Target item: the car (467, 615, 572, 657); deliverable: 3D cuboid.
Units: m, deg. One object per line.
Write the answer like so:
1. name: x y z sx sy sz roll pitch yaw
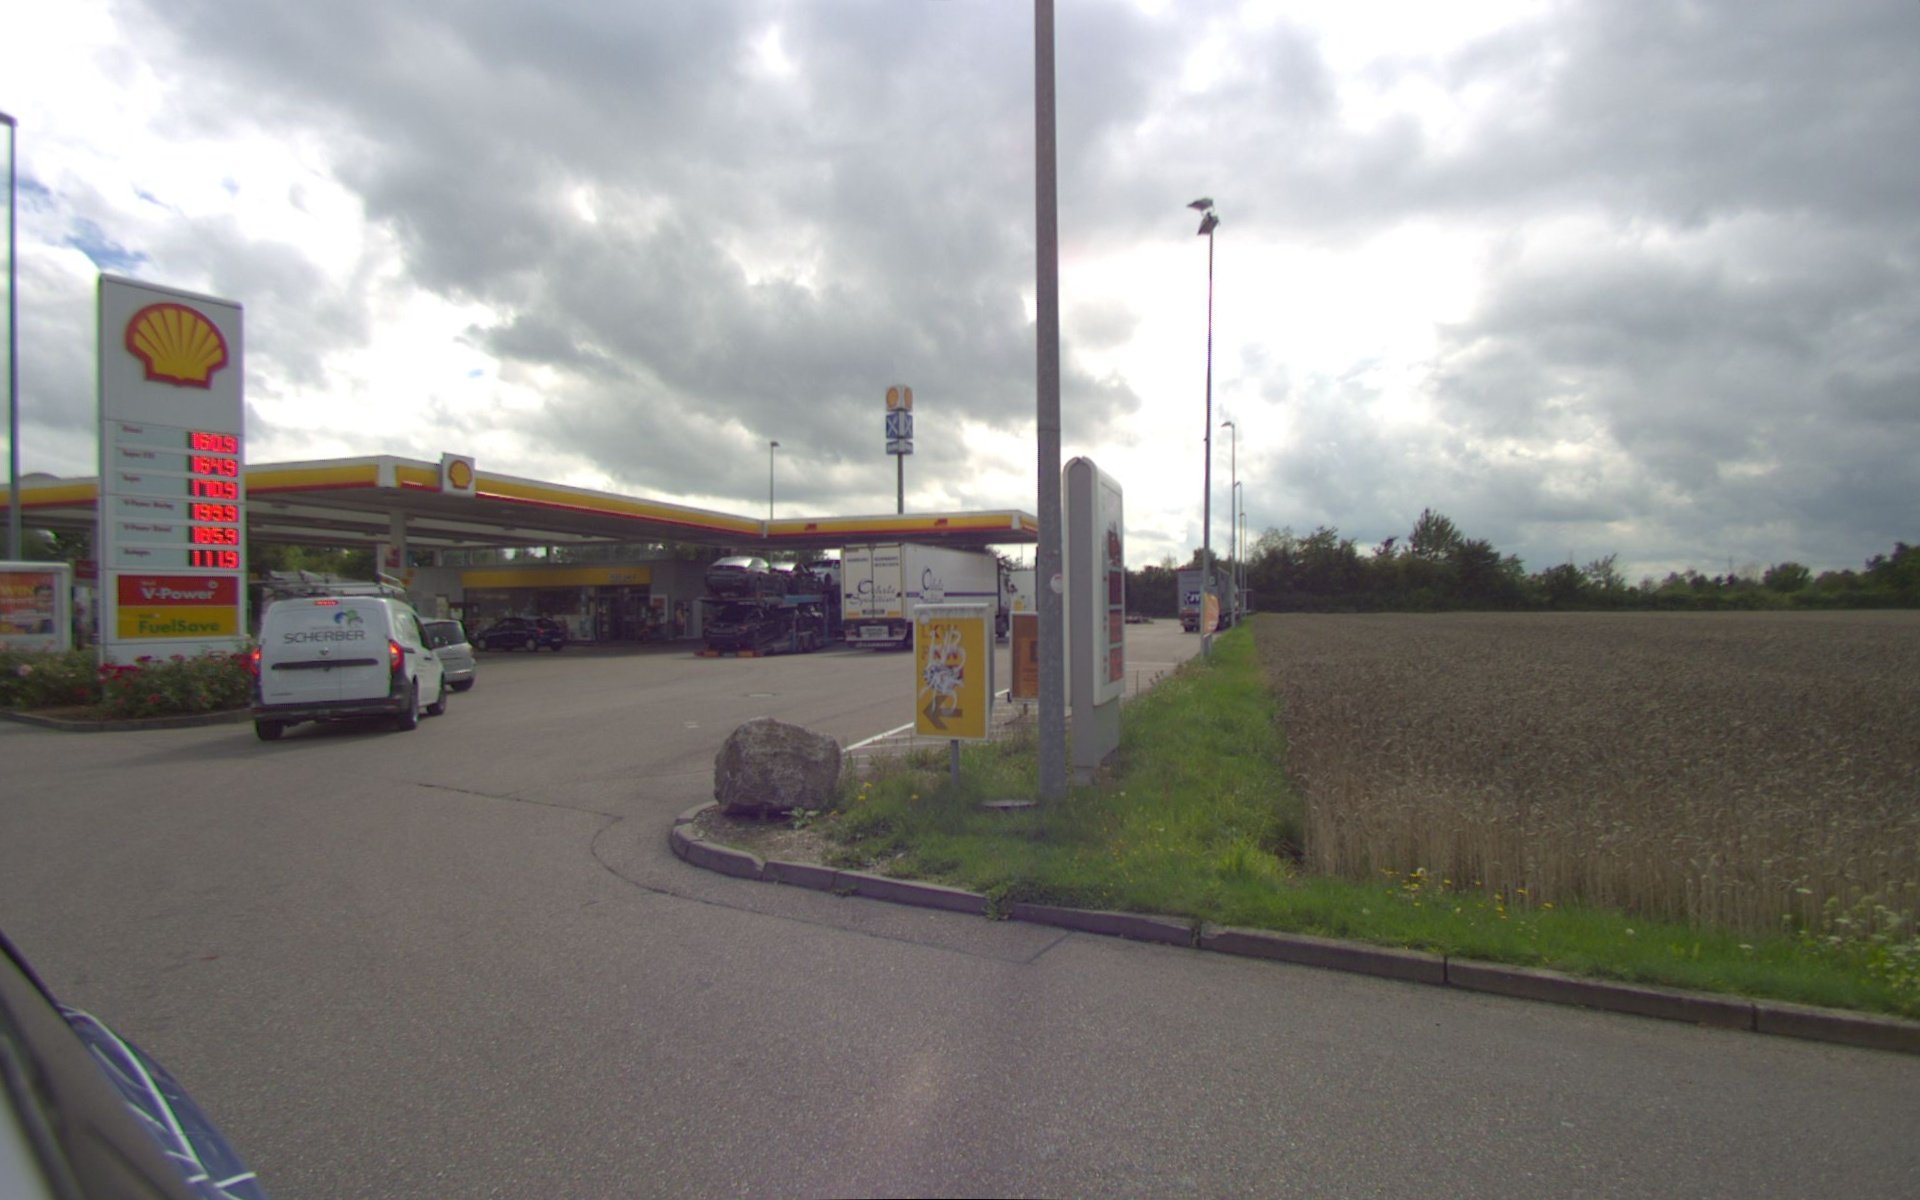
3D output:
1. car: -18.360 1.497 42.220 3.724 1.613 1.709 -1 -1 13

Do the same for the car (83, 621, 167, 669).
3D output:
1. car: -30.070 1.597 36.556 1.819 1.586 4.011 -1 -1 -32

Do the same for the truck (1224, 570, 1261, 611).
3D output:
1. truck: 29.006 -0.853 103.583 2.802 3.923 12.726 0 -1 19

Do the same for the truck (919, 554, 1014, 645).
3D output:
1. truck: 0.456 0.022 49.392 2.689 4.055 7.129 -1 -1 17

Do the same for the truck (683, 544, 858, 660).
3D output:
1. truck: -7.177 0.143 41.249 2.721 3.953 13.220 0 -1 9

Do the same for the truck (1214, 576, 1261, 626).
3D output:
1. truck: 23.998 0.114 87.004 2.802 3.923 15.361 0 -1 19

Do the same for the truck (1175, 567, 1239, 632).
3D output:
1. truck: 17.122 0.025 69.278 2.802 3.923 15.361 0 -1 19

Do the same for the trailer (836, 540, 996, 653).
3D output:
1. trailer: -1.428 -0.057 43.182 2.689 4.055 12.776 -1 -1 17

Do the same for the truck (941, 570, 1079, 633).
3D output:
1. truck: 3.265 0.133 73.692 2.912 4.143 14.796 0 -1 -28

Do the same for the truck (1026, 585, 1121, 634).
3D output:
1. truck: 9.982 0.922 91.170 2.942 4.142 11.612 -1 -1 -24

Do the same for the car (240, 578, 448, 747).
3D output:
1. car: -8.513 0.803 14.343 1.765 2.027 3.893 -1 -1 -20

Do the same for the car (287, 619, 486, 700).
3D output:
1. car: -11.934 1.223 21.081 3.692 1.559 1.569 -1 -1 19

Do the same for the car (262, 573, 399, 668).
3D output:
1. car: -20.537 0.668 33.339 2.187 2.808 5.824 -1 -1 -15
